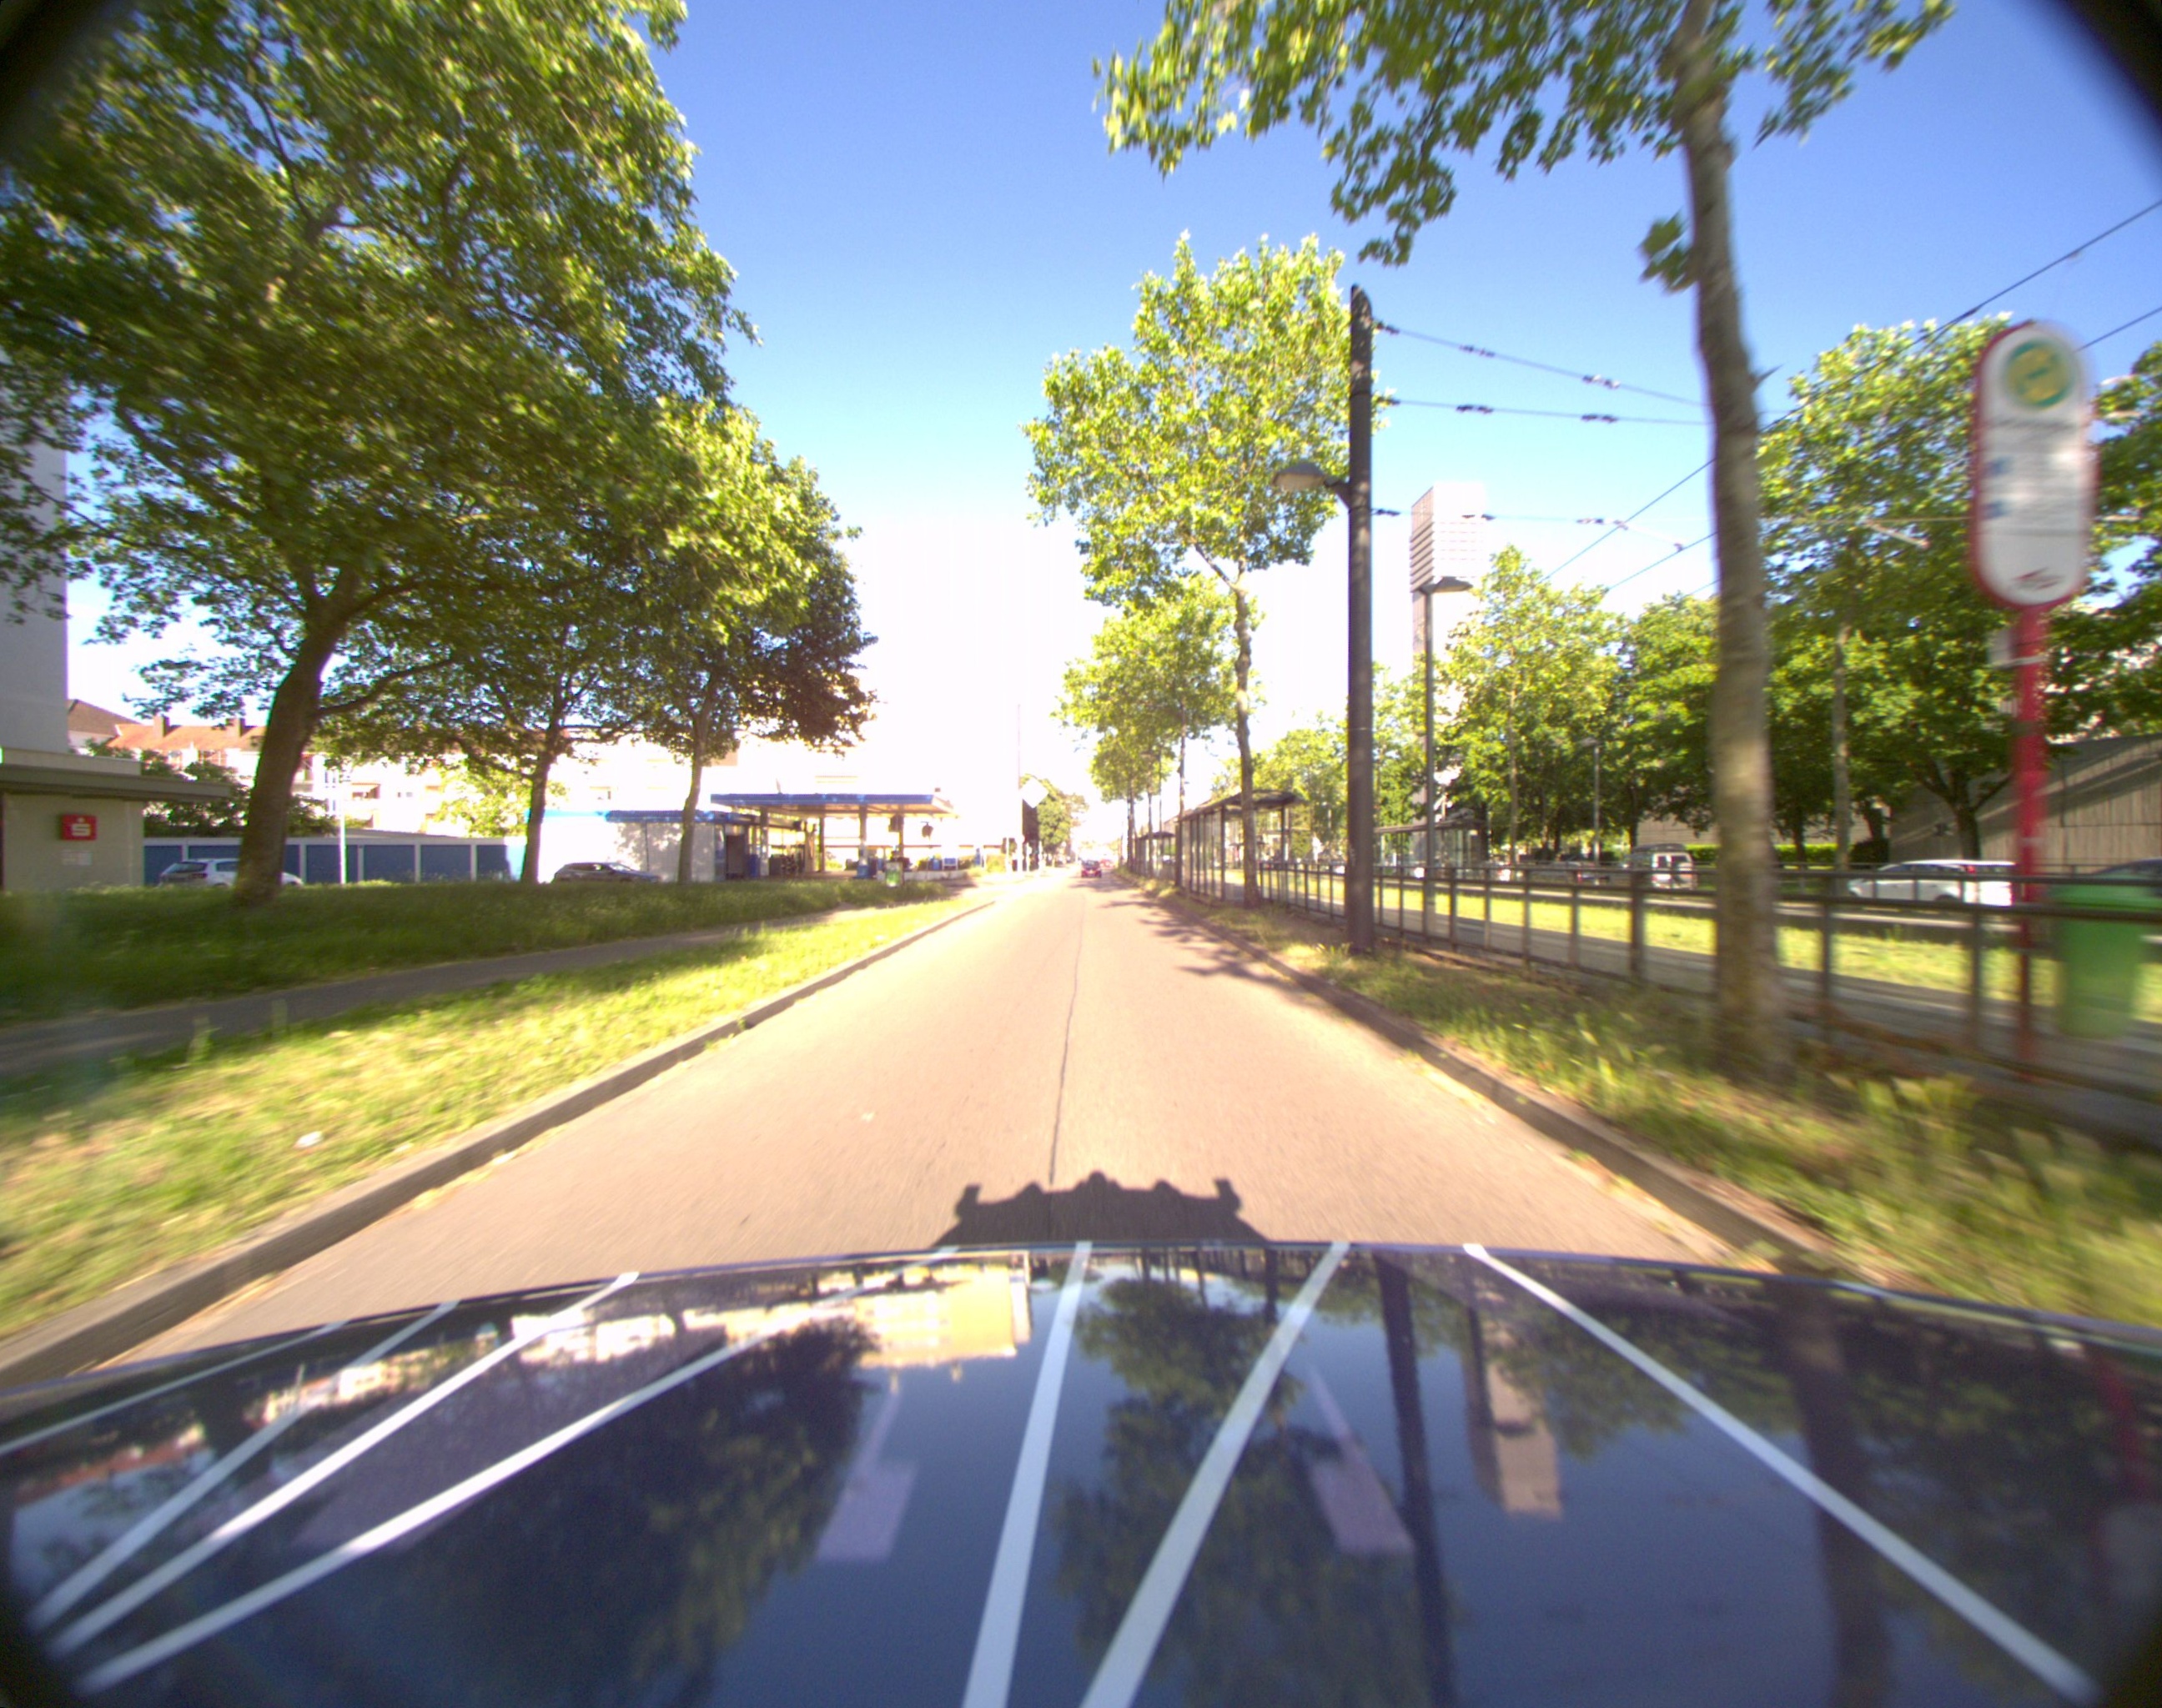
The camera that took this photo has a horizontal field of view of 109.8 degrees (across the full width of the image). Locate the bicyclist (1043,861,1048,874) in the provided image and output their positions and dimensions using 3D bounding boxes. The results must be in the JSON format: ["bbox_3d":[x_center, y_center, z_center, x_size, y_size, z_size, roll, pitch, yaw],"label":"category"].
[{"bbox_3d":[-4.347,1.644,93.132,0.678,1.466,0.936,0,1,0],"label":"bicyclist"}]

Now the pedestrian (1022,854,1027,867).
[{"bbox_3d":[-6.837,0.741,91.856,0.505,1.537,0.518,1,1,-16],"label":"pedestrian"}]

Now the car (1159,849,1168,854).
[{"bbox_3d":[23.928,-0.720,220.651,2.144,1.697,5.402,0,0,1],"label":"car"}]

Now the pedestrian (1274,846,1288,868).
[{"bbox_3d":[15.393,0.212,58.494,0.885,1.680,0.754,-1,0,1],"label":"pedestrian"}]

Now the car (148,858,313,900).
[{"bbox_3d":[-33.213,0.933,29.867,1.874,1.495,4.113,0,0,-1],"label":"car"}]

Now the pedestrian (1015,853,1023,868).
[{"bbox_3d":[-7.496,0.751,91.590,0.790,1.817,1.032,1,1,-16],"label":"pedestrian"}]

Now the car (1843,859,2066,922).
[{"bbox_3d":[23.587,0.917,20.774,1.718,1.537,3.934,0,0,3],"label":"car"}]

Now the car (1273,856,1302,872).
[{"bbox_3d":[18.901,0.939,69.558,1.609,1.419,3.536,0,0,-1],"label":"car"}]

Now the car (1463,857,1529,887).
[{"bbox_3d":[23.331,0.969,42.899,1.598,1.626,3.930,0,0,0],"label":"car"}]

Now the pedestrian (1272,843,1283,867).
[{"bbox_3d":[15.310,0.094,59.248,0.722,1.856,0.637,-1,0,1],"label":"pedestrian"}]

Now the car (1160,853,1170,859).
[{"bbox_3d":[23.755,0.602,214.569,2.144,1.697,5.402,0,0,1],"label":"car"}]

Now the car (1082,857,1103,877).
[{"bbox_3d":[0.915,1.010,60.257,1.619,1.536,4.277,0,0,2],"label":"car"}]

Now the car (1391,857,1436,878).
[{"bbox_3d":[23.746,0.960,54.424,1.598,1.436,3.930,0,0,2],"label":"car"}]

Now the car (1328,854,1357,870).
[{"bbox_3d":[21.934,0.659,63.862,1.266,1.234,3.376,0,0,0],"label":"car"}]

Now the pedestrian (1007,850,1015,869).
[{"bbox_3d":[-6.116,0.492,66.722,0.605,1.691,0.552,0,0,5],"label":"pedestrian"}]

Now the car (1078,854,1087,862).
[{"bbox_3d":[0.290,1.040,180.490,1.998,1.806,4.000,-1,0,0],"label":"car"}]

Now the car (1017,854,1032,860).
[{"bbox_3d":[-11.427,0.625,153.702,1.997,1.316,4.281,0,0,10],"label":"car"}]

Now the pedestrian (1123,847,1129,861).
[{"bbox_3d":[4.957,-0.022,83.683,0.660,1.520,0.538,0,1,-7],"label":"pedestrian"}]

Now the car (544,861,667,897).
[{"bbox_3d":[-21.099,1.099,33.868,4.201,1.522,1.983,0,0,-1],"label":"car"}]

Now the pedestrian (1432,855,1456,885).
[{"bbox_3d":[15.394,0.681,32.198,0.838,1.253,0.801,-1,1,29],"label":"pedestrian"}]

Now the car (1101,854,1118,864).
[{"bbox_3d":[4.645,0.806,123.870,1.545,1.522,3.597,-2,1,-20],"label":"car"}]

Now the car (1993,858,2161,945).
[{"bbox_3d":[20.041,0.851,14.045,1.718,1.537,3.934,0,0,3],"label":"car"}]

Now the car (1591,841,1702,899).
[{"bbox_3d":[23.542,0.632,31.827,1.718,2.249,3.933,0,0,0],"label":"car"}]

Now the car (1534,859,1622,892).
[{"bbox_3d":[23.780,0.970,36.509,1.598,1.480,4.020,0,0,0],"label":"car"}]

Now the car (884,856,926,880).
[{"bbox_3d":[-11.243,0.862,48.801,1.724,1.454,4.005,0,0,1],"label":"car"}]

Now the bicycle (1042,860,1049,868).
[{"bbox_3d":[-4.335,1.261,93.122,0.684,0.925,1.736,0,0,0],"label":"bicycle"}]
